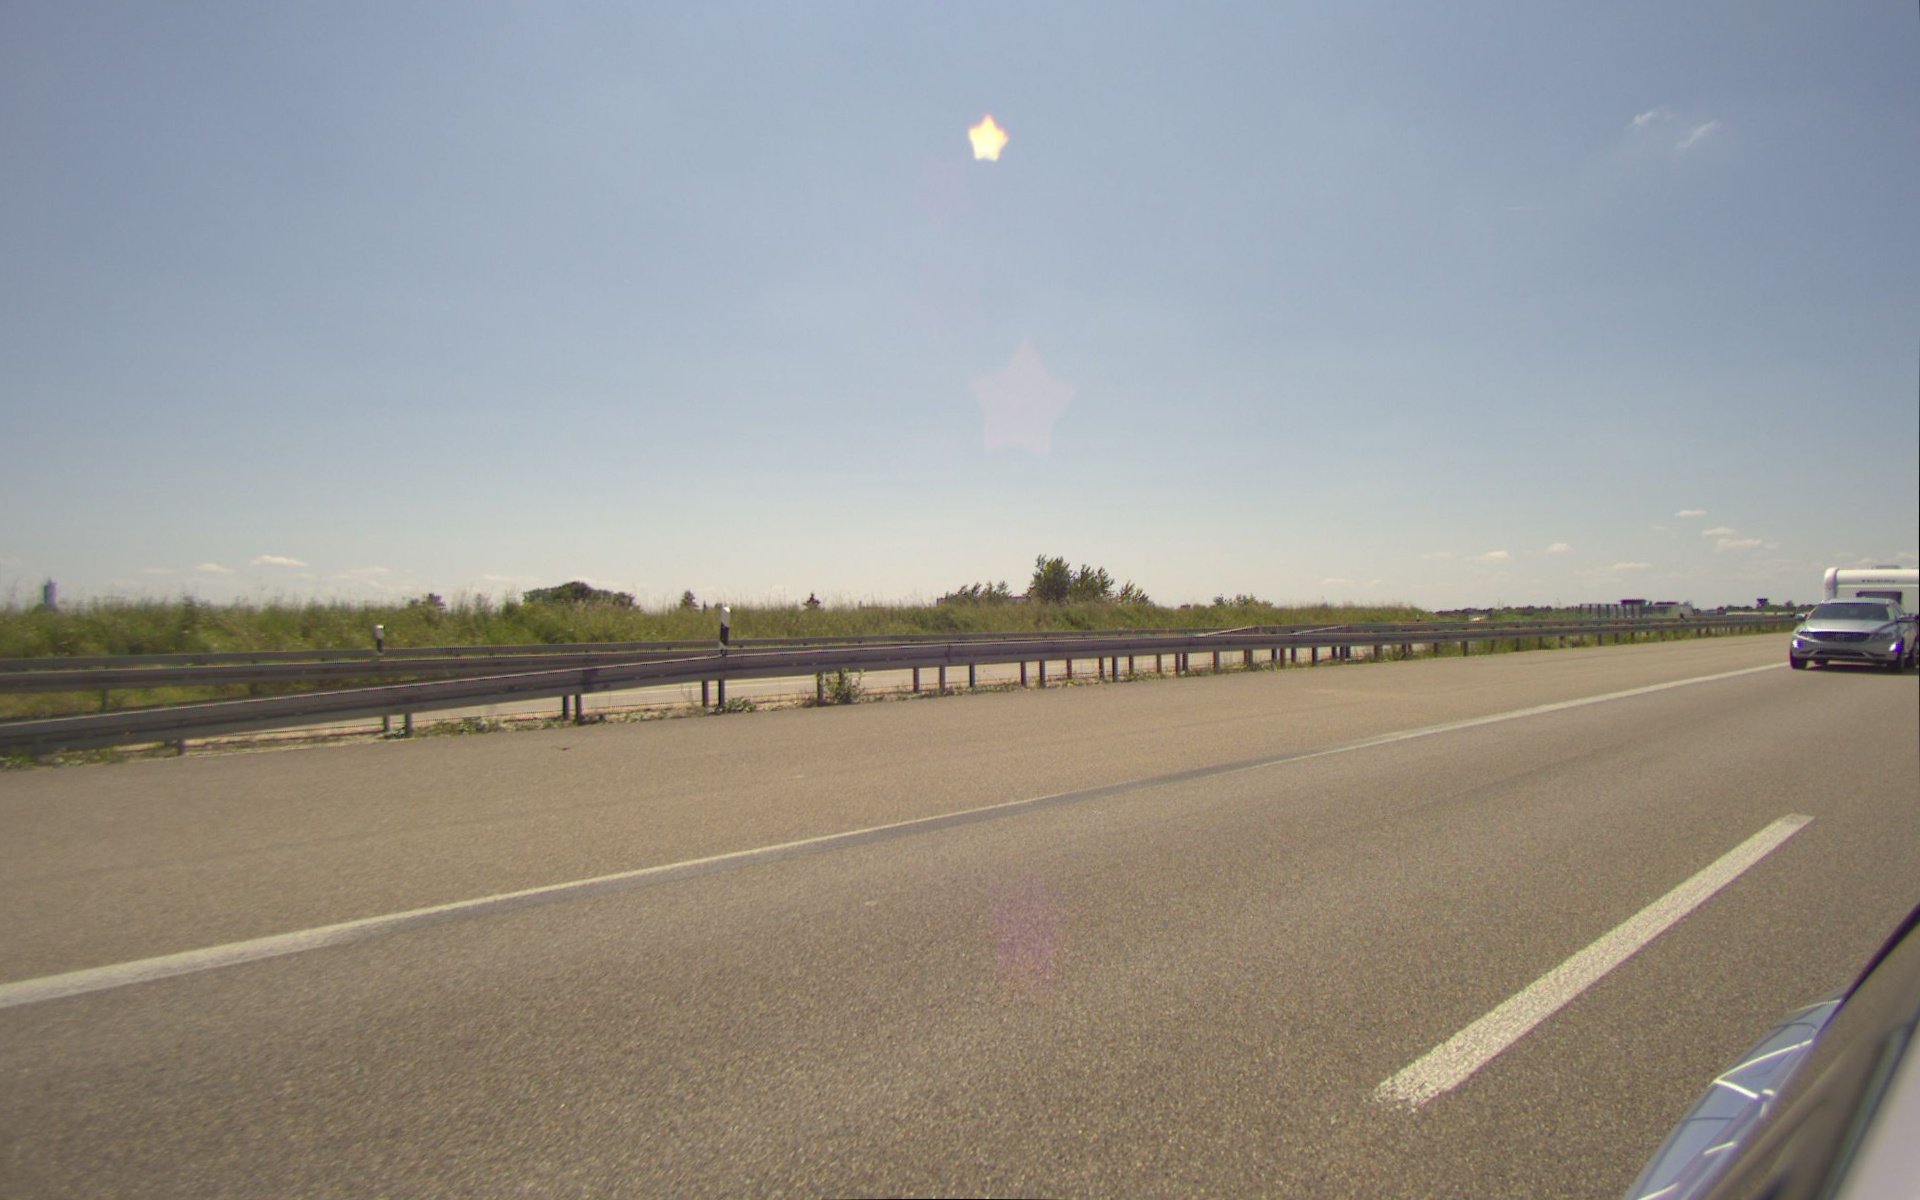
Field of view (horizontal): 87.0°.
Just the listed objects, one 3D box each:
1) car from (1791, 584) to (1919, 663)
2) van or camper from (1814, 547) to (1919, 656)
[{"bbox_3d":[20.884,0.517,23.326,4.817,1.643,1.884,1,-1,-41],"label":"car"},{"bbox_3d":[25.538,0.099,27.394,7.679,2.626,2.517,1,-1,-41],"label":"van or camper"}]
